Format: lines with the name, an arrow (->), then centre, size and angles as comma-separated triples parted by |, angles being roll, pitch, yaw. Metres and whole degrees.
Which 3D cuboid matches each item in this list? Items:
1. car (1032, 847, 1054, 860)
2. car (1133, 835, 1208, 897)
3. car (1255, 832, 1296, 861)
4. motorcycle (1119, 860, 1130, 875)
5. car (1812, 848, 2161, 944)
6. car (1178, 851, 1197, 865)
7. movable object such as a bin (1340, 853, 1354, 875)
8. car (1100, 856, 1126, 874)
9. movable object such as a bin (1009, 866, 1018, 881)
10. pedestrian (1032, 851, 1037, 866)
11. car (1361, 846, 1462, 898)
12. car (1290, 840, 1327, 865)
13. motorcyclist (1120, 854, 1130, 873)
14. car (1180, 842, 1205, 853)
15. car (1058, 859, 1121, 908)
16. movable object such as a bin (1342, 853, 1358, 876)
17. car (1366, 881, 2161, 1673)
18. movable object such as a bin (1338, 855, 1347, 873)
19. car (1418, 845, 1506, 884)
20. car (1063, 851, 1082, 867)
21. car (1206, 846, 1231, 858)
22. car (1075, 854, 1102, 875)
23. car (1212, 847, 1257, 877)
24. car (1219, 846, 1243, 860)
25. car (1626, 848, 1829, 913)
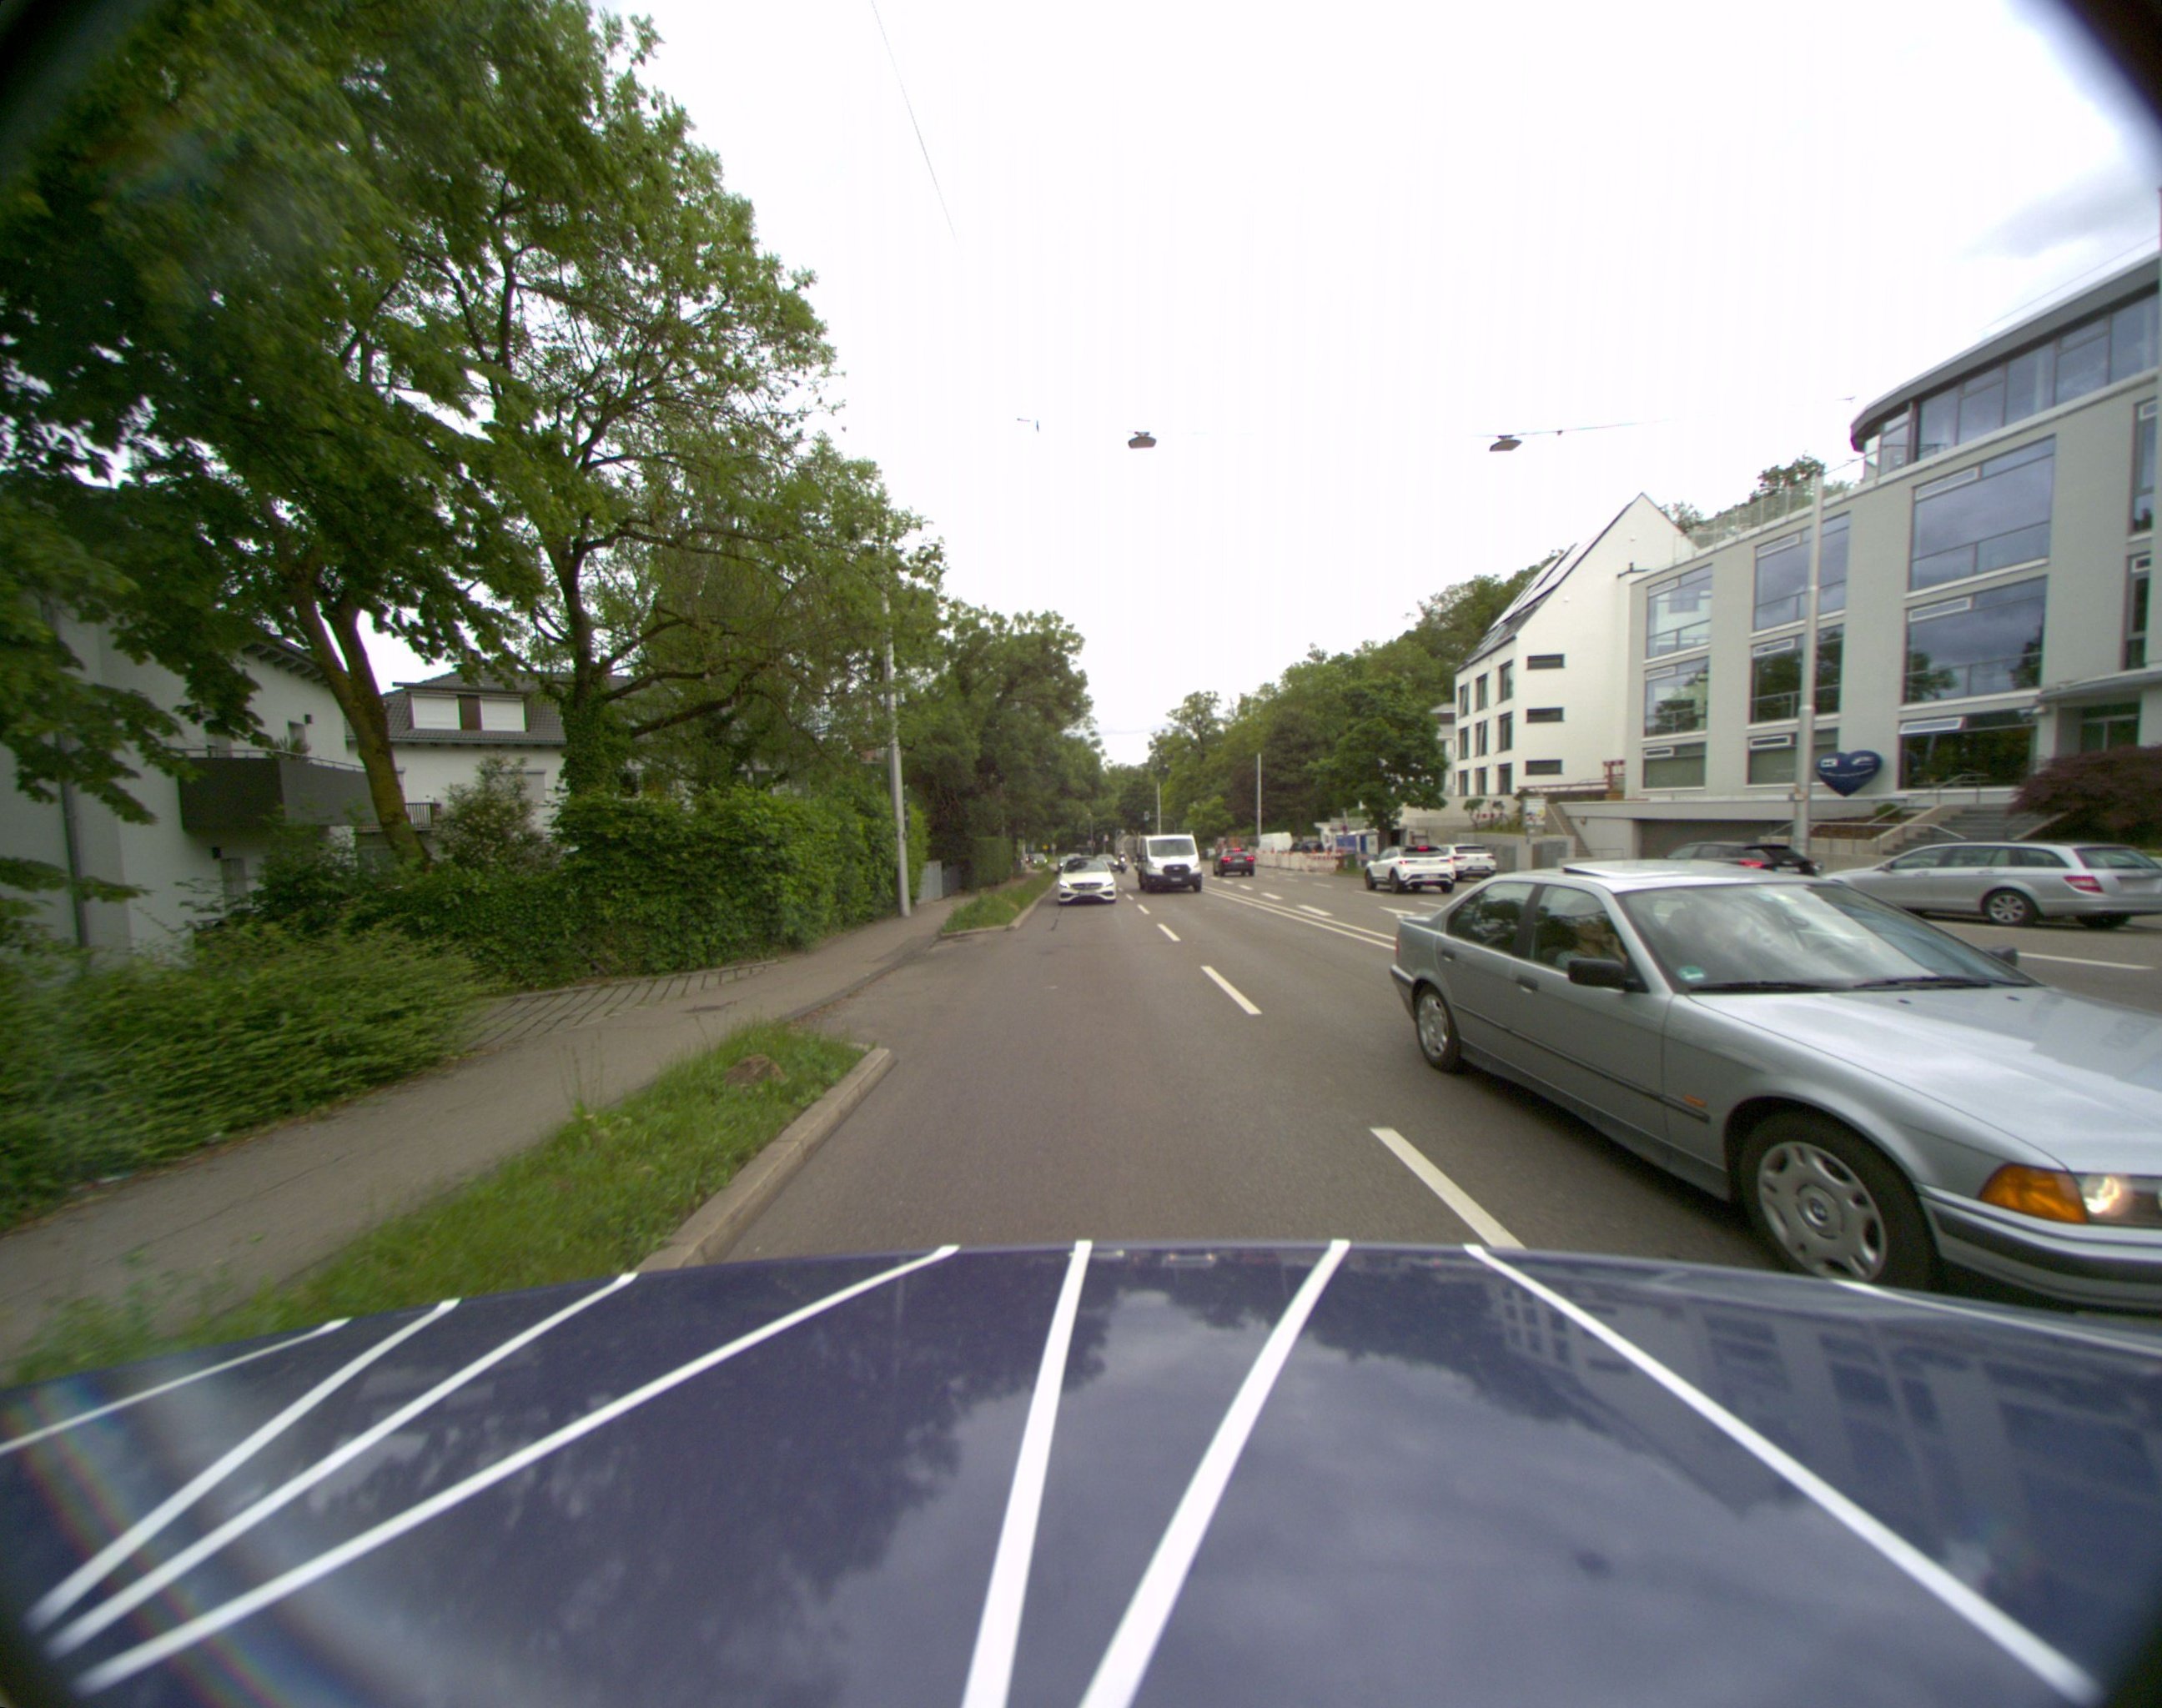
car -> -5.195, -0.073, 103.624 | 2.001, 1.647, 4.430 | -2, 1, -15
car -> 3.383, 0.438, 30.033 | 1.999, 2.161, 6.267 | -1, 0, -2
car -> 18.634, -0.724, 73.232 | 1.999, 2.511, 6.532 | -3, 1, -2
motorcycle -> 3.333, 1.021, 58.216 | 0.574, 1.120, 2.295 | -4, 1, -3
car -> 16.111, 0.620, 13.605 | 1.677, 1.420, 4.416 | 1, 0, -2
car -> 12.468, 0.446, 89.357 | 1.779, 1.588, 4.226 | -2, 1, 3
movable object such as a bin -> 13.873, 0.511, 39.625 | 0.586, 1.131, 0.586 | -2, 1, 7
car -> 2.871, 0.997, 68.636 | 1.999, 1.540, 3.999 | -1, 0, -1
movable object such as a bin -> -4.231, 1.240, 47.413 | 0.474, 0.906, 0.454 | -2, 1, 1
pedestrian -> -5.737, 0.530, 94.055 | 0.513, 1.824, 0.494 | -2, 1, -1
car -> 10.684, 0.532, 24.866 | 1.804, 1.533, 3.923 | -2, 0, 4
car -> 17.302, -0.113, 58.040 | 1.810, 1.741, 4.251 | -3, 1, 5
motorcyclist -> 3.376, 0.719, 58.247 | 0.619, 1.463, 0.930 | -4, 1, -3
car -> 14.700, -0.863, 100.358 | 1.569, 1.277, 3.288 | -2, 1, -30
car -> 0.202, 0.898, 24.598 | 1.821, 1.339, 3.999 | -2, 1, -2
movable object such as a bin -> 13.795, 0.518, 38.988 | 0.589, 1.131, 0.645 | -2, 1, 7
car -> 3.051, 0.946, 3.681 | 1.638, 1.375, 4.619 | -2, 1, 1
movable object such as a bin -> 14.346, 0.562, 41.692 | 0.327, 0.969, 0.425 | -2, 1, 7
car -> 15.701, 0.396, 31.585 | 1.672, 1.495, 4.238 | -1, 1, 2
car -> -0.850, 0.502, 75.649 | 1.675, 1.523, 3.998 | -2, 1, -3
car -> 18.352, -0.231, 101.511 | 3.301, 1.434, 1.579 | -3, 1, -40
car -> 0.529, 0.728, 55.490 | 1.734, 1.403, 3.999 | -2, 1, -2
car -> 9.143, 0.443, 45.571 | 1.851, 1.693, 4.763 | -1, 1, 2
car -> 15.764, -0.137, 79.789 | 1.582, 1.434, 3.293 | -2, 1, -4
car -> 16.011, 0.582, 19.138 | 1.677, 1.420, 4.089 | -1, 1, 1
